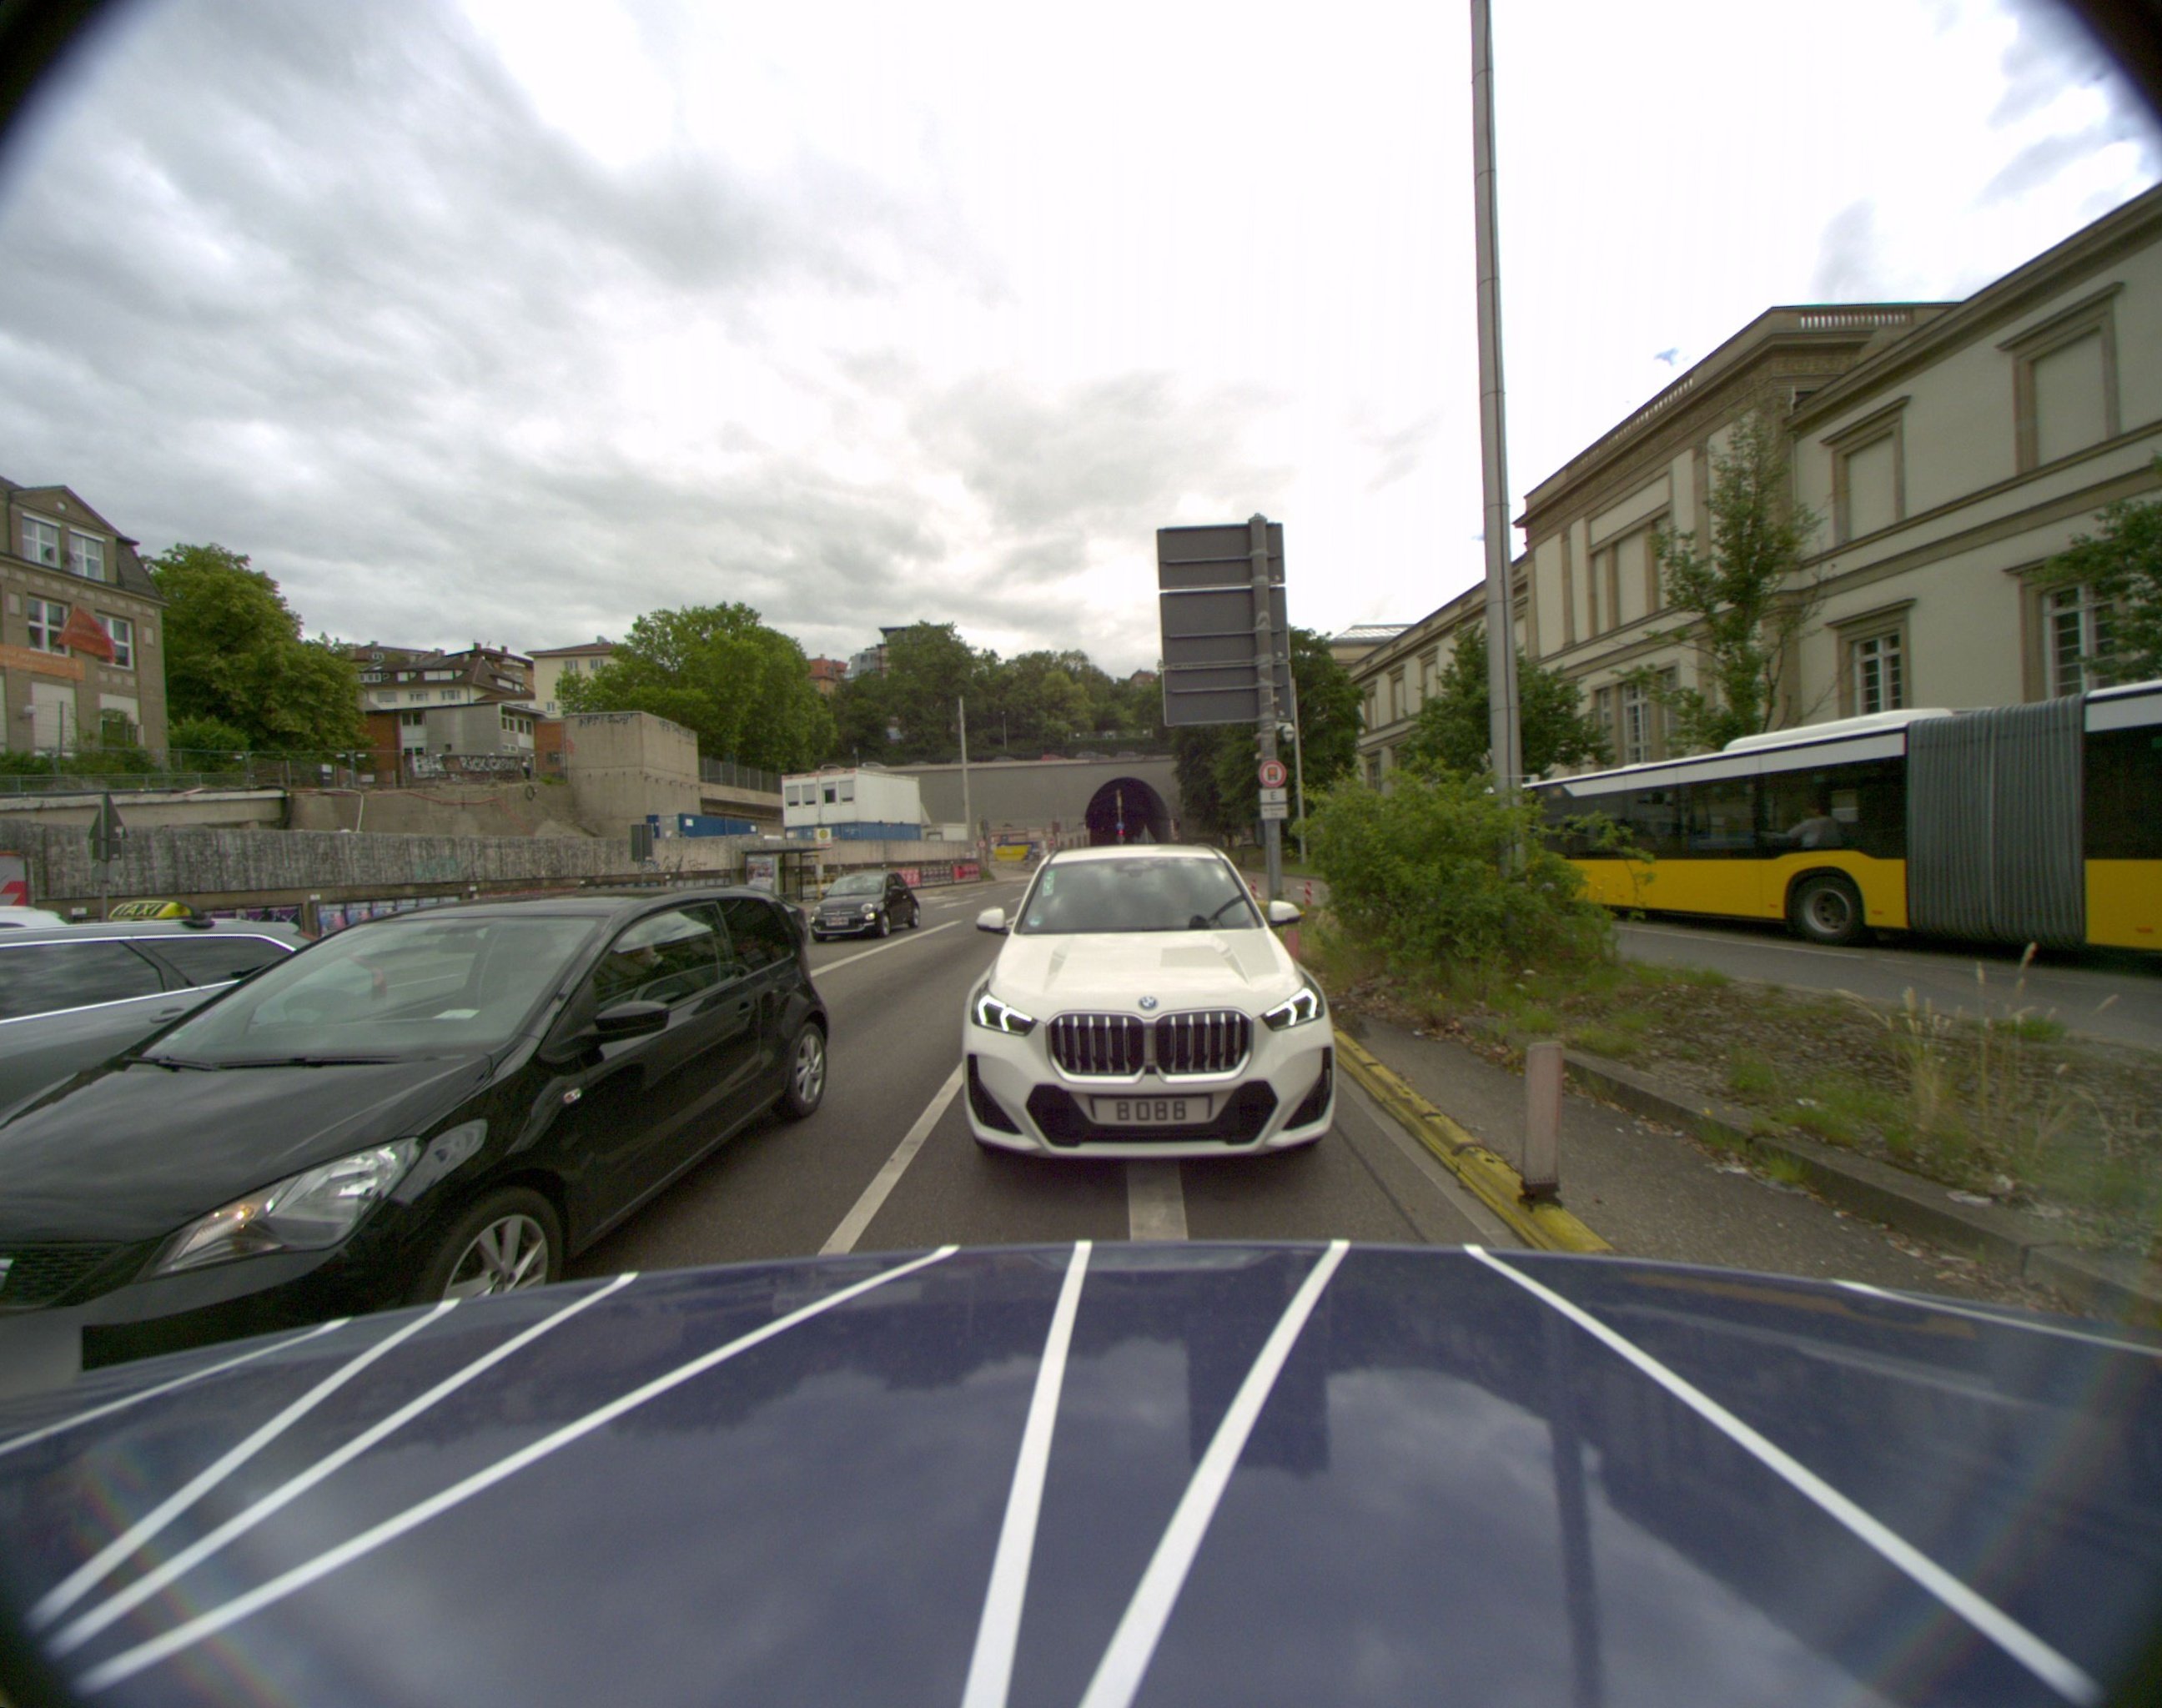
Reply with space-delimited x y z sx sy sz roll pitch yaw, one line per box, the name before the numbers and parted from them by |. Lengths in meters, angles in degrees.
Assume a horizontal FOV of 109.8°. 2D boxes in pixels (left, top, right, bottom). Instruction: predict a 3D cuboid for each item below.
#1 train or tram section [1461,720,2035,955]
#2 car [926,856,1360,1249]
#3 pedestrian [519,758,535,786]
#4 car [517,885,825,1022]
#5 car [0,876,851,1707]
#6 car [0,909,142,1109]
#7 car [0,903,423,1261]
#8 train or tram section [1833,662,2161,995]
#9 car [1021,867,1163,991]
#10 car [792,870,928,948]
train or tram section | 11.149 -0.221 14.697 2.701 3.053 9.375 -1 0 -1
car | 0.340 0.851 5.133 1.756 1.547 3.911 -2 1 3
pedestrian | -36.542 -5.382 50.128 0.554 1.784 0.569 -2 1 2
car | -5.399 1.229 10.771 1.826 1.356 4.219 -2 0 4
car | -2.529 0.982 3.286 1.661 1.547 3.911 -2 1 3
car | -9.150 1.261 4.590 1.826 1.457 4.073 -2 1 0
car | -5.824 1.146 3.466 1.826 1.457 4.217 -2 1 2
train or tram section | 11.246 -0.249 5.336 2.700 3.053 9.336 -1 0 0
car | 0.222 0.994 11.609 1.756 1.427 3.911 -2 0 3
car | -4.943 1.186 17.555 1.720 1.450 3.782 -3 0 4
